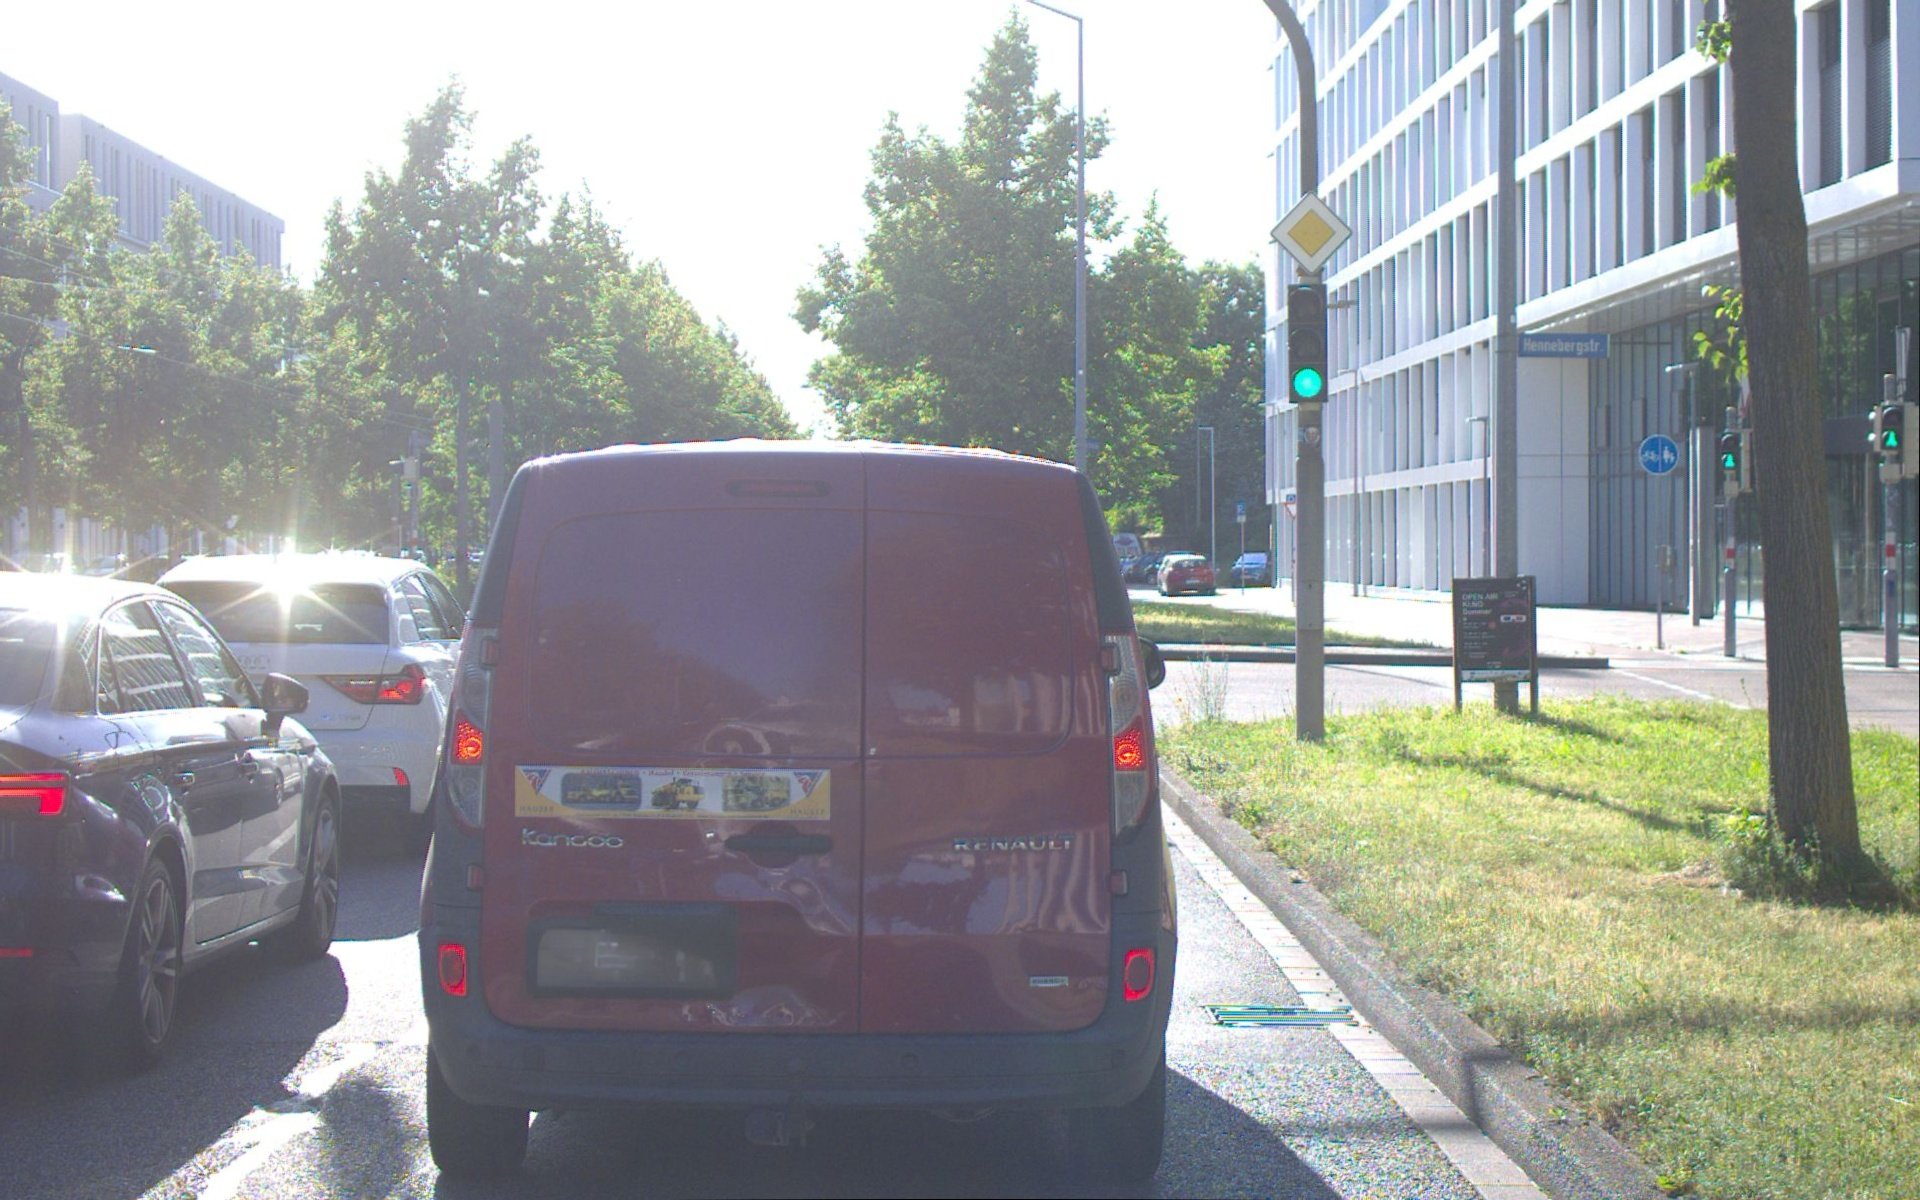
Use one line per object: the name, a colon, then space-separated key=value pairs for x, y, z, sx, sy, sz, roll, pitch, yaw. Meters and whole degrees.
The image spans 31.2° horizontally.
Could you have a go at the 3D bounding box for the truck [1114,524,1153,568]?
truck: x=10.038 y=-3.105 z=198.873 sx=1.831 sy=2.492 sz=5.933 roll=0 pitch=1 yaw=-1

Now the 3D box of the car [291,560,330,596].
car: x=-37.577 y=-1.296 z=198.949 sx=1.728 sy=2.007 sz=4.001 roll=0 pitch=1 yaw=-3

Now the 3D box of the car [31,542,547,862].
car: x=-3.259 y=0.425 z=17.492 sx=1.808 sy=1.430 sz=4.113 roll=0 pitch=1 yaw=0

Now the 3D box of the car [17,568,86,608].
car: x=-36.074 y=-0.487 z=136.556 sx=1.776 sy=1.523 sz=3.806 roll=0 pitch=1 yaw=-1

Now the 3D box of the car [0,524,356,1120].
car: x=-3.148 y=0.529 z=10.821 sx=1.808 sy=1.522 sz=4.113 roll=0 pitch=1 yaw=-1

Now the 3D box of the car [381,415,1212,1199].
car: x=-0.351 y=0.453 z=9.551 sx=1.808 sy=1.788 sz=4.113 roll=0 pitch=1 yaw=0

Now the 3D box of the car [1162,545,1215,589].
car: x=8.478 y=-1.243 z=127.827 sx=1.758 sy=1.606 sz=3.903 roll=0 pitch=1 yaw=1

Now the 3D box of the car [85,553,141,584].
car: x=-36.764 y=-1.376 z=149.206 sx=1.580 sy=1.337 sz=3.712 roll=0 pitch=1 yaw=-1
